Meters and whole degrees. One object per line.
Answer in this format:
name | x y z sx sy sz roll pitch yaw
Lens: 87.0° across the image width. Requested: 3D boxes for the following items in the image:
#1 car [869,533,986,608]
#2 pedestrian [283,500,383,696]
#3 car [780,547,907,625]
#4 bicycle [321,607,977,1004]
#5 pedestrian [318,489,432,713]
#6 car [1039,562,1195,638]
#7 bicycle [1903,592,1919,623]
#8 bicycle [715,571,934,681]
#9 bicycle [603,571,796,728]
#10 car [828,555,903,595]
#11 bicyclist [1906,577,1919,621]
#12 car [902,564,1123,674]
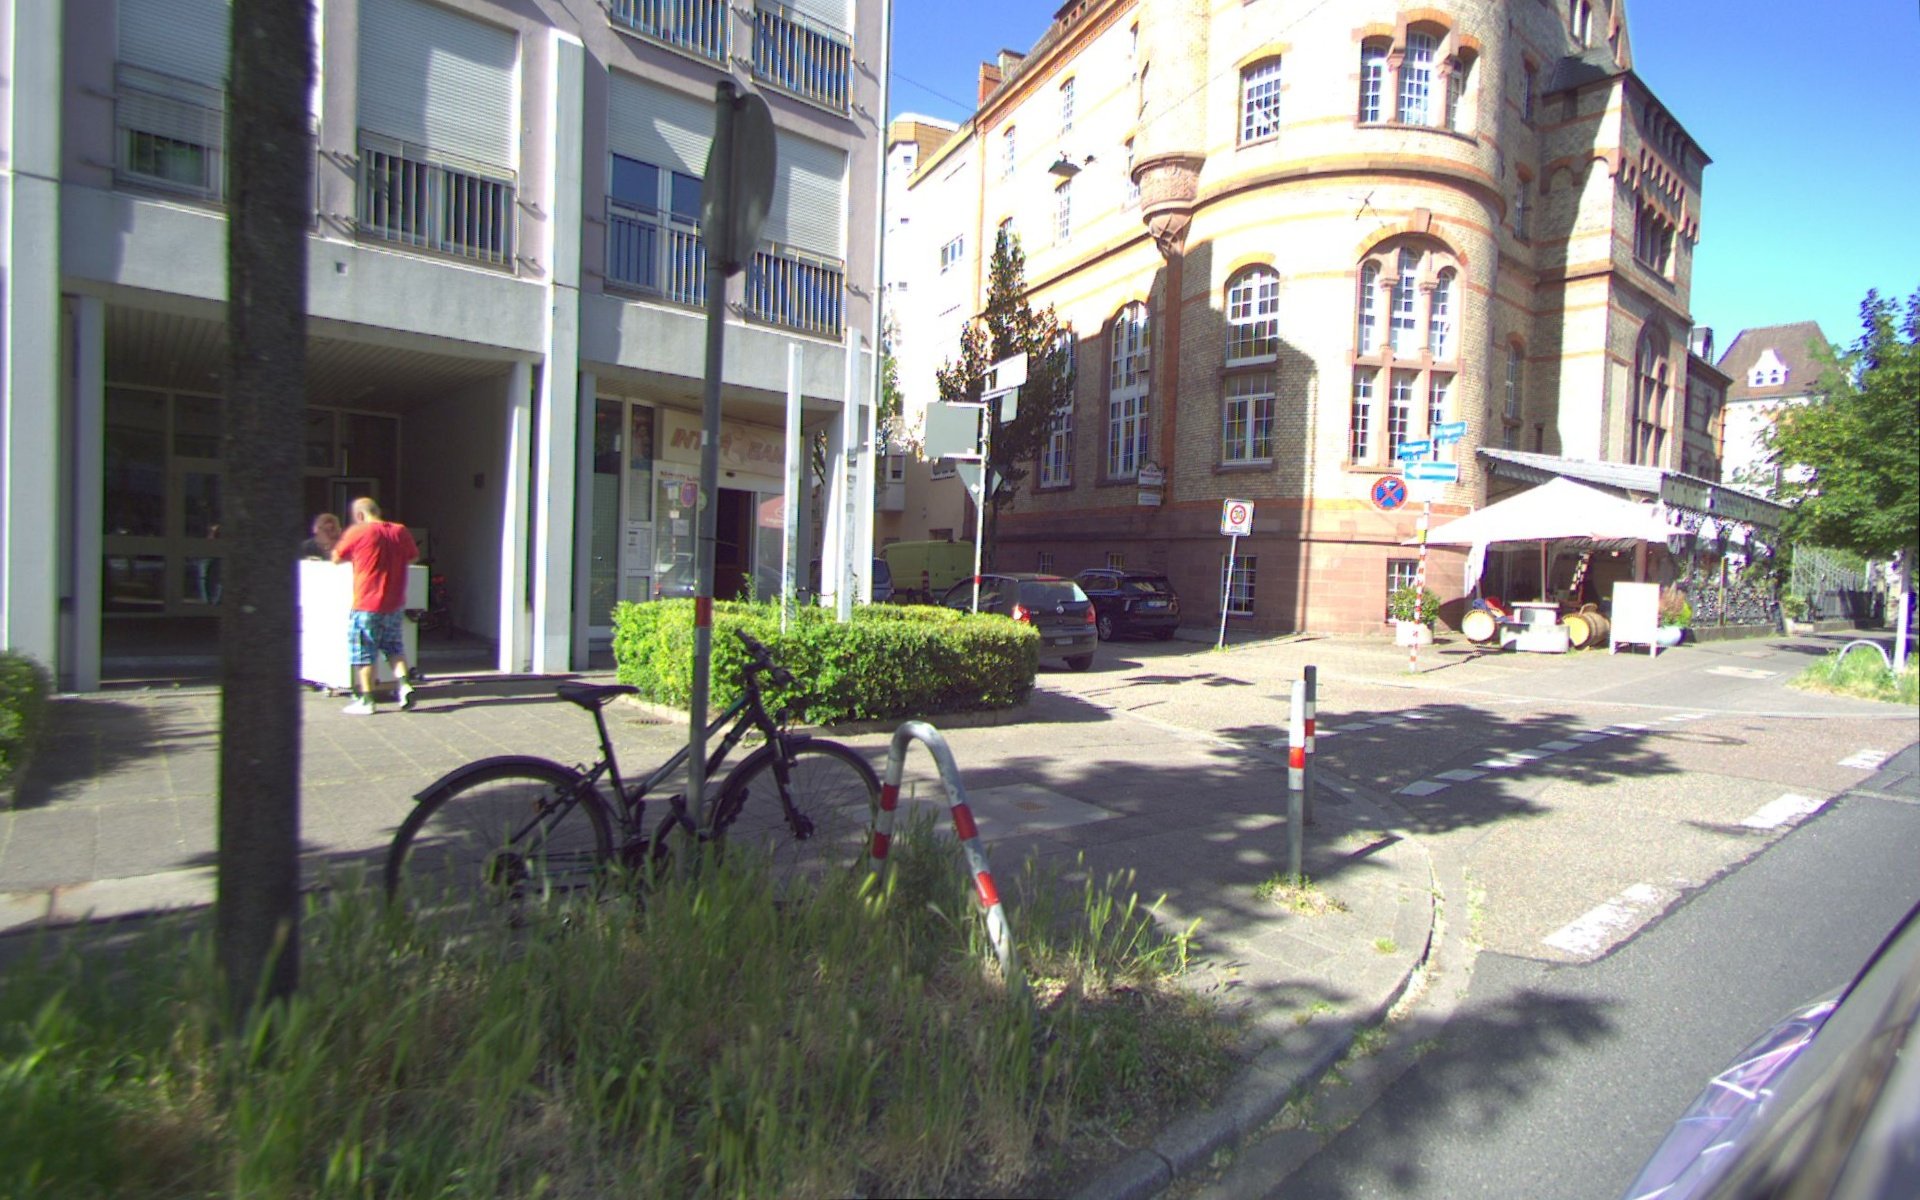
car | -1.195 -1.006 34.238 2.093 2.331 4.815 1 1 -27
pedestrian | -5.515 -0.042 8.895 0.654 1.622 0.594 7 6 44
car | -2.903 -0.364 24.480 1.758 1.728 3.964 1 1 -27
bicycle | -0.980 0.591 3.486 1.980 1.079 0.594 1 2 -24
pedestrian | -4.532 -0.016 7.836 0.654 1.622 0.594 7 6 44
car | 3.580 -0.074 23.814 1.758 1.541 3.966 -2 4 -24
bicycle | 38.547 0.310 40.631 1.810 1.190 0.654 1 5 -40
bicycle | -1.414 0.295 10.772 2.159 1.040 0.688 3 2 -32
bicycle | -2.242 0.349 8.460 0.675 1.040 2.202 3 2 -38
car | -3.784 -0.967 40.088 1.620 1.476 3.902 1 0 -27
bicyclist | 38.547 -0.040 40.588 0.873 1.715 0.647 1 5 -40
car | 0.692 0.193 16.301 1.824 1.542 3.964 -1 2 -27
